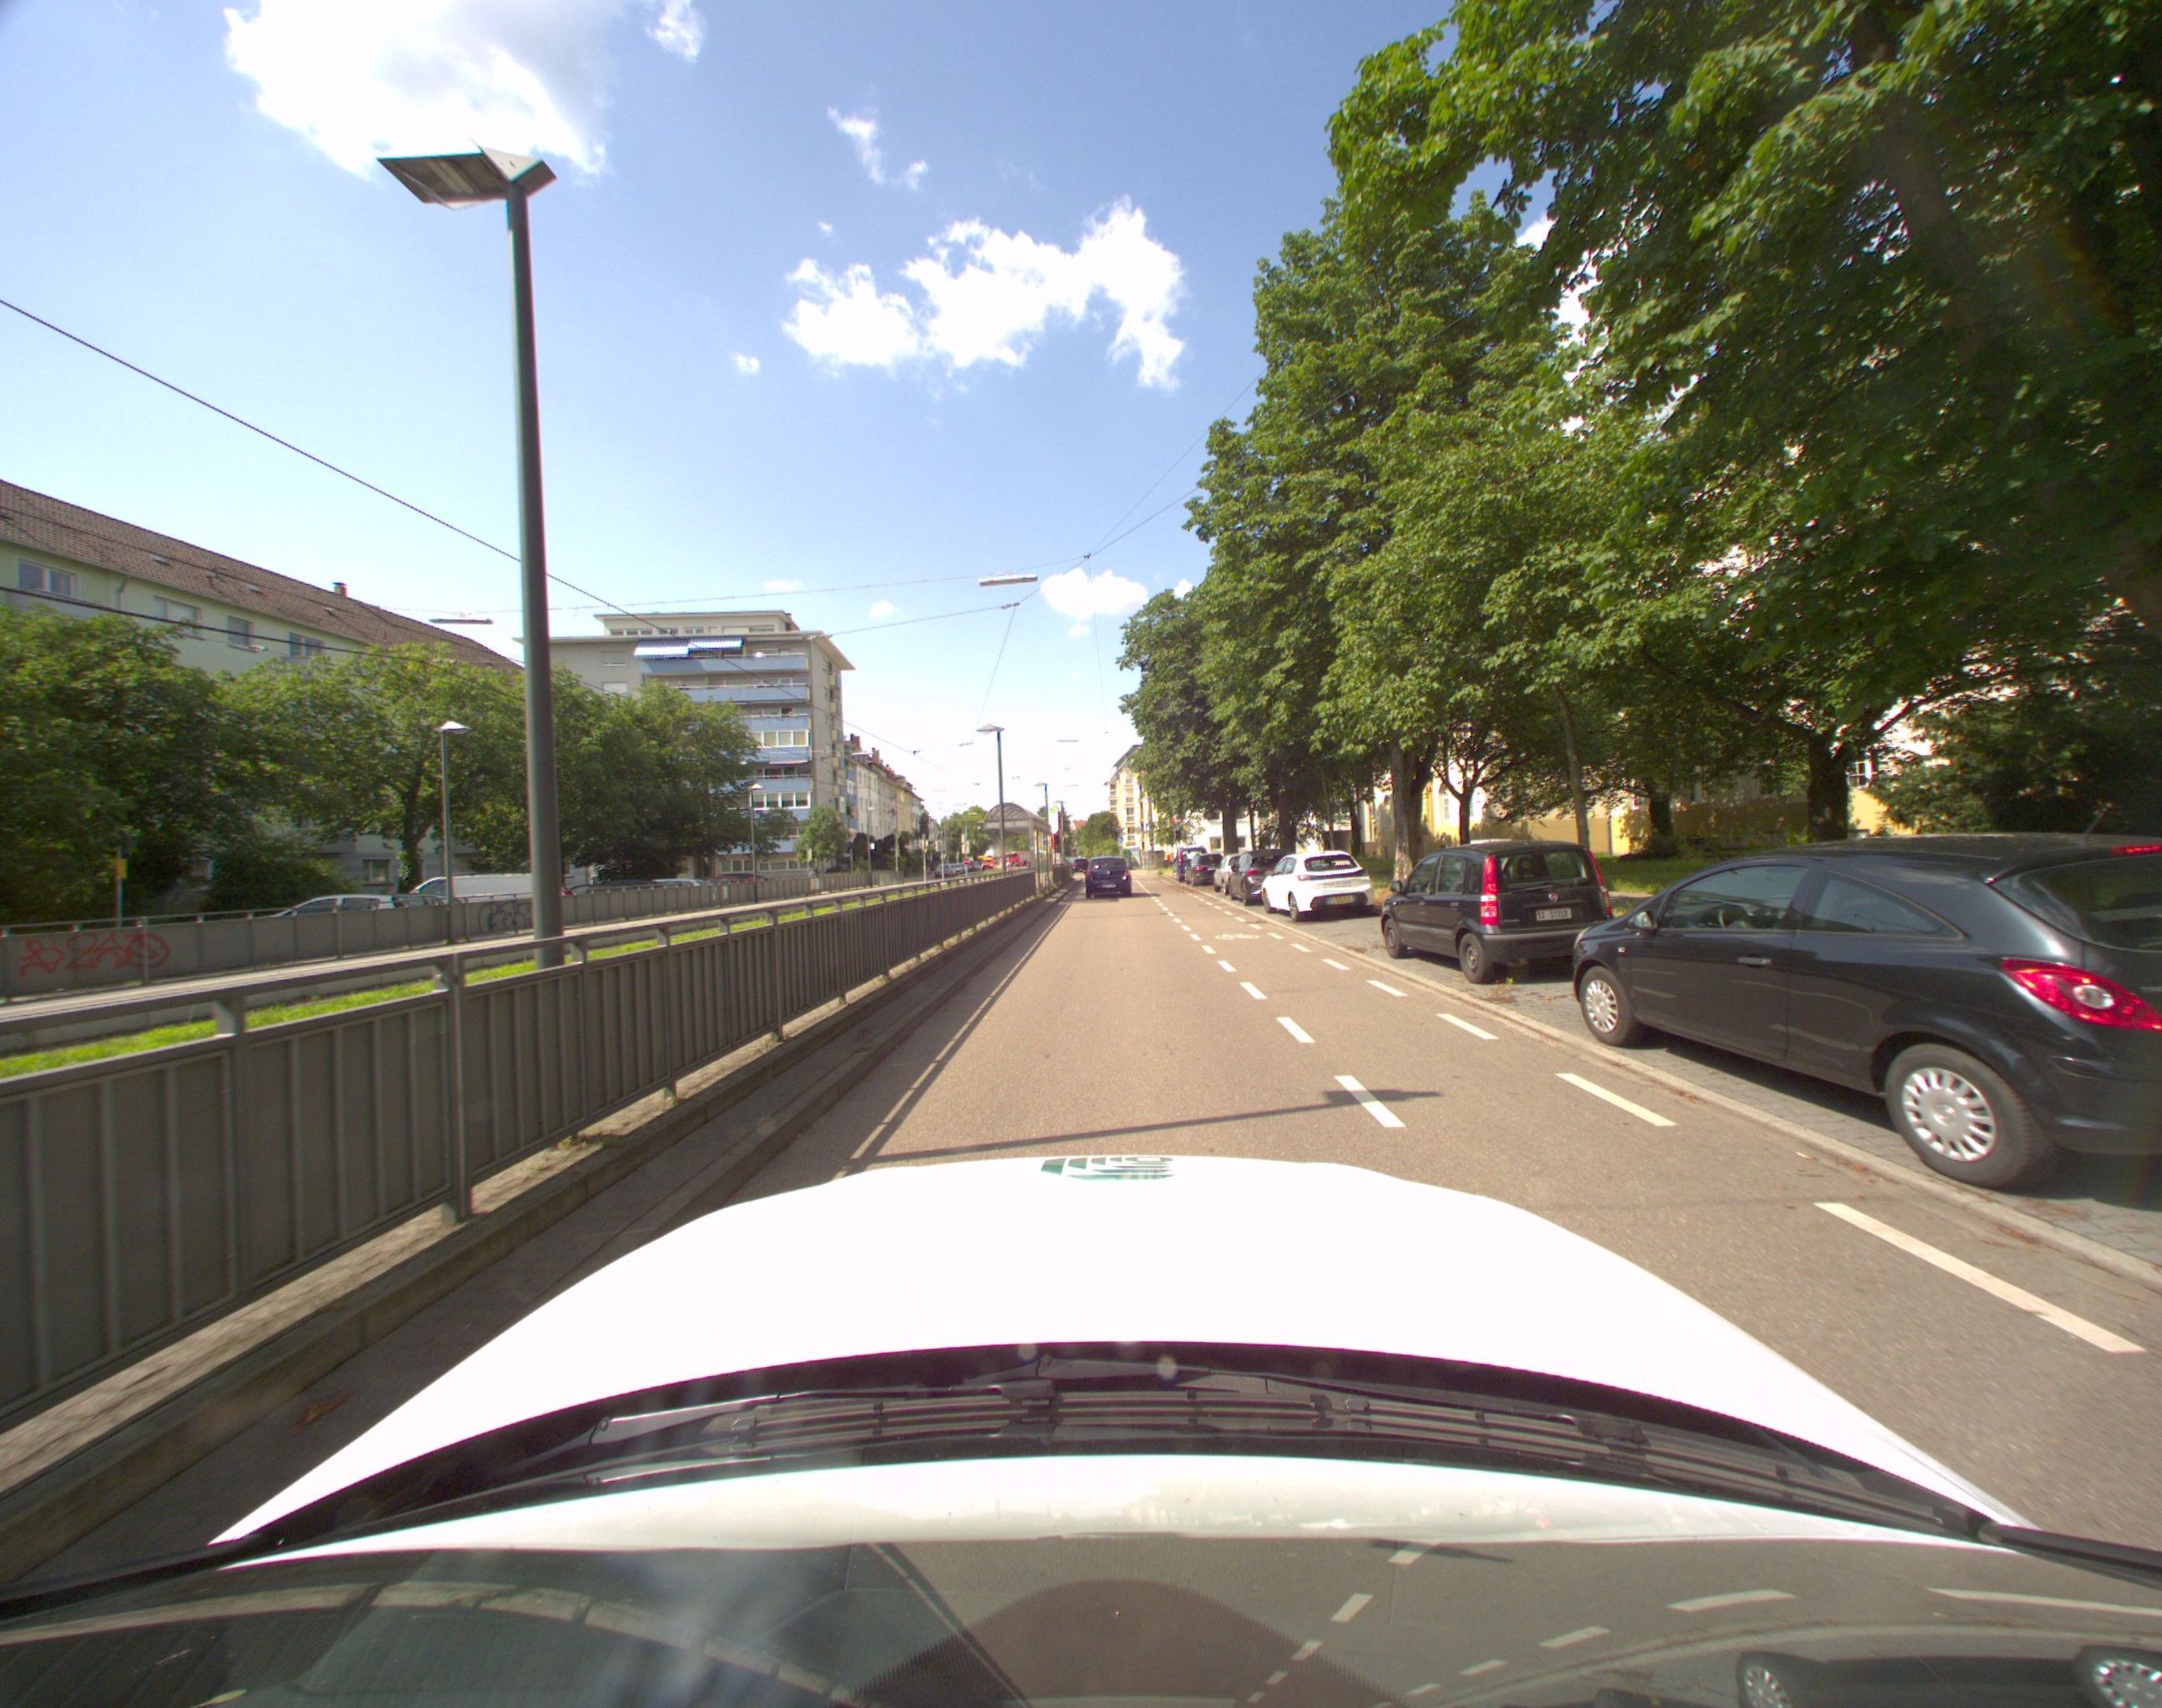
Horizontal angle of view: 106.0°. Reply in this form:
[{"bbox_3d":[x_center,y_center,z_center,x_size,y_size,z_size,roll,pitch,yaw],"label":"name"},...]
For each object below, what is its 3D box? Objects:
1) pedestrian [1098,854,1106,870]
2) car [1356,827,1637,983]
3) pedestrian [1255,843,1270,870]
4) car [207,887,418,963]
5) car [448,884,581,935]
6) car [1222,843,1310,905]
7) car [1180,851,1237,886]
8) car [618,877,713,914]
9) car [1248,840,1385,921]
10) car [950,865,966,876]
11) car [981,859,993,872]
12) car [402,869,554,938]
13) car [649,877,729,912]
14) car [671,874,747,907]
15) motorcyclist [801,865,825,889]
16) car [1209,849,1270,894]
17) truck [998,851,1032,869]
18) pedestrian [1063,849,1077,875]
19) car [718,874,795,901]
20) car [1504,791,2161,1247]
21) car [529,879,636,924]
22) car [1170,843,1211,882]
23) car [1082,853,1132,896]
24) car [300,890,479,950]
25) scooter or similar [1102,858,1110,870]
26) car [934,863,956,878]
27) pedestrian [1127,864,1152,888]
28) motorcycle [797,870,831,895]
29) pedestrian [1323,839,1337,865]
[{"bbox_3d":[2.371,0.886,91.164,0.700,1.789,1.029,-5,0,-4],"label":"pedestrian"},{"bbox_3d":[4.927,0.557,10.254,1.551,1.461,3.557,-6,-1,-1],"label":"car"},{"bbox_3d":[11.436,0.158,51.401,0.741,1.696,0.767,-3,0,2],"label":"pedestrian"},{"bbox_3d":[-21.285,1.900,22.806,4.017,1.639,1.807,-3,1,-35],"label":"car"},{"bbox_3d":[-21.488,2.071,31.090,3.964,1.579,1.702,-3,0,-30],"label":"car"},{"bbox_3d":[5.456,0.557,24.590,1.718,1.583,4.680,-4,0,3],"label":"car"},{"bbox_3d":[6.028,0.648,39.000,1.911,1.442,4.797,-5,0,1],"label":"car"},{"bbox_3d":[-20.402,1.992,40.116,4.039,1.514,1.595,-3,0,-28],"label":"car"},{"bbox_3d":[5.317,0.561,18.990,1.830,1.523,4.252,-5,0,-1],"label":"car"},{"bbox_3d":[-16.707,2.180,110.457,1.764,1.442,3.994,-1,-1,-4],"label":"car"},{"bbox_3d":[-16.351,1.996,141.983,1.992,2.275,4.820,1,0,-8],"label":"car"},{"bbox_3d":[-20.943,1.661,28.516,3.963,2.070,2.030,-3,0,-30],"label":"car"},{"bbox_3d":[-20.552,2.073,42.723,3.677,1.579,1.633,-3,0,-29],"label":"car"},{"bbox_3d":[-20.640,1.999,45.209,3.677,1.579,1.633,-3,0,-29],"label":"car"},{"bbox_3d":[-15.444,1.307,46.961,0.935,1.339,0.987,-3,0,2],"label":"motorcyclist"},{"bbox_3d":[5.775,0.628,29.998,1.584,1.445,3.599,-4,-1,2],"label":"car"},{"bbox_3d":[-13.708,1.253,170.153,2.571,3.185,8.436,-5,-1,31],"label":"truck"},{"bbox_3d":[-0.763,0.542,55.620,0.843,1.667,0.798,-3,-1,-1],"label":"pedestrian"},{"bbox_3d":[-20.238,2.075,50.858,4.153,1.394,1.591,-3,0,-37],"label":"car"},{"bbox_3d":[4.598,0.550,5.062,1.684,1.561,4.309,-6,0,2],"label":"car"},{"bbox_3d":[-20.817,1.959,34.193,3.677,1.579,1.633,-3,0,-29],"label":"car"},{"bbox_3d":[5.913,0.431,44.365,1.815,1.896,4.187,-4,0,3],"label":"car"},{"bbox_3d":[0.979,0.768,31.074,1.737,1.507,4.001,-1,-1,1],"label":"car"},{"bbox_3d":[-21.467,2.011,25.506,4.014,1.485,1.593,-3,0,-32],"label":"car"},{"bbox_3d":[2.795,1.099,90.291,0.661,1.303,0.867,-6,0,-4],"label":"scooter or similar"},{"bbox_3d":[-15.766,1.942,94.494,1.988,1.645,3.997,-1,-1,-2],"label":"car"},{"bbox_3d":[5.069,1.915,71.232,1.986,2.014,4.002,-1,-1,2],"label":"pedestrian"},{"bbox_3d":[-15.381,1.633,47.012,1.010,1.339,2.518,-3,0,2],"label":"motorcycle"},{"bbox_3d":[15.899,-0.114,52.011,0.629,1.596,0.539,-3,-1,-1],"label":"pedestrian"}]
